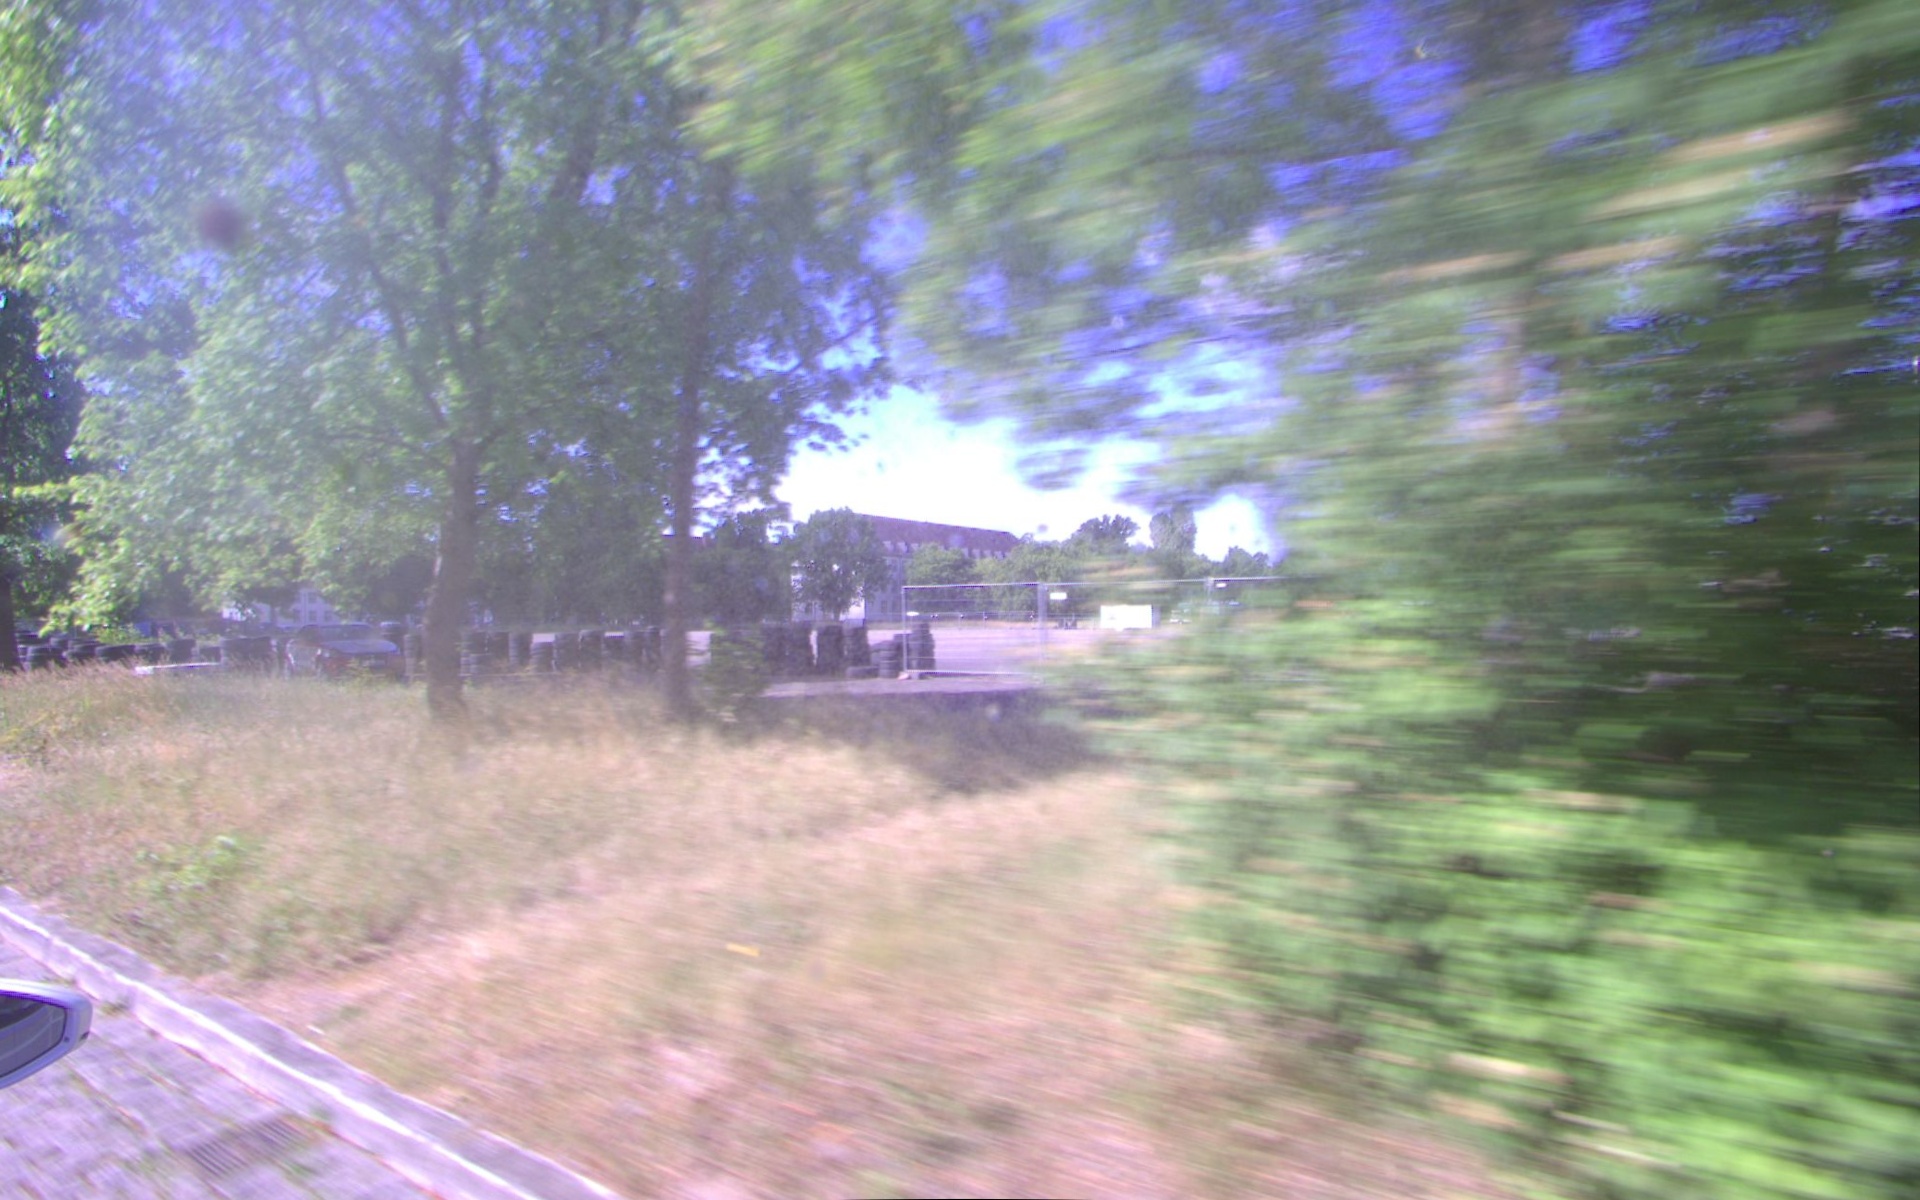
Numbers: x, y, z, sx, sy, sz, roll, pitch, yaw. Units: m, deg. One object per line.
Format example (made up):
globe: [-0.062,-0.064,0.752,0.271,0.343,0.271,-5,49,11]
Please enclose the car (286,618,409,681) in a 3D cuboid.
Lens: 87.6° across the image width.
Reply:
car: [-14.826,1.158,24.193,3.536,1.425,1.534,-1,-1,41]
